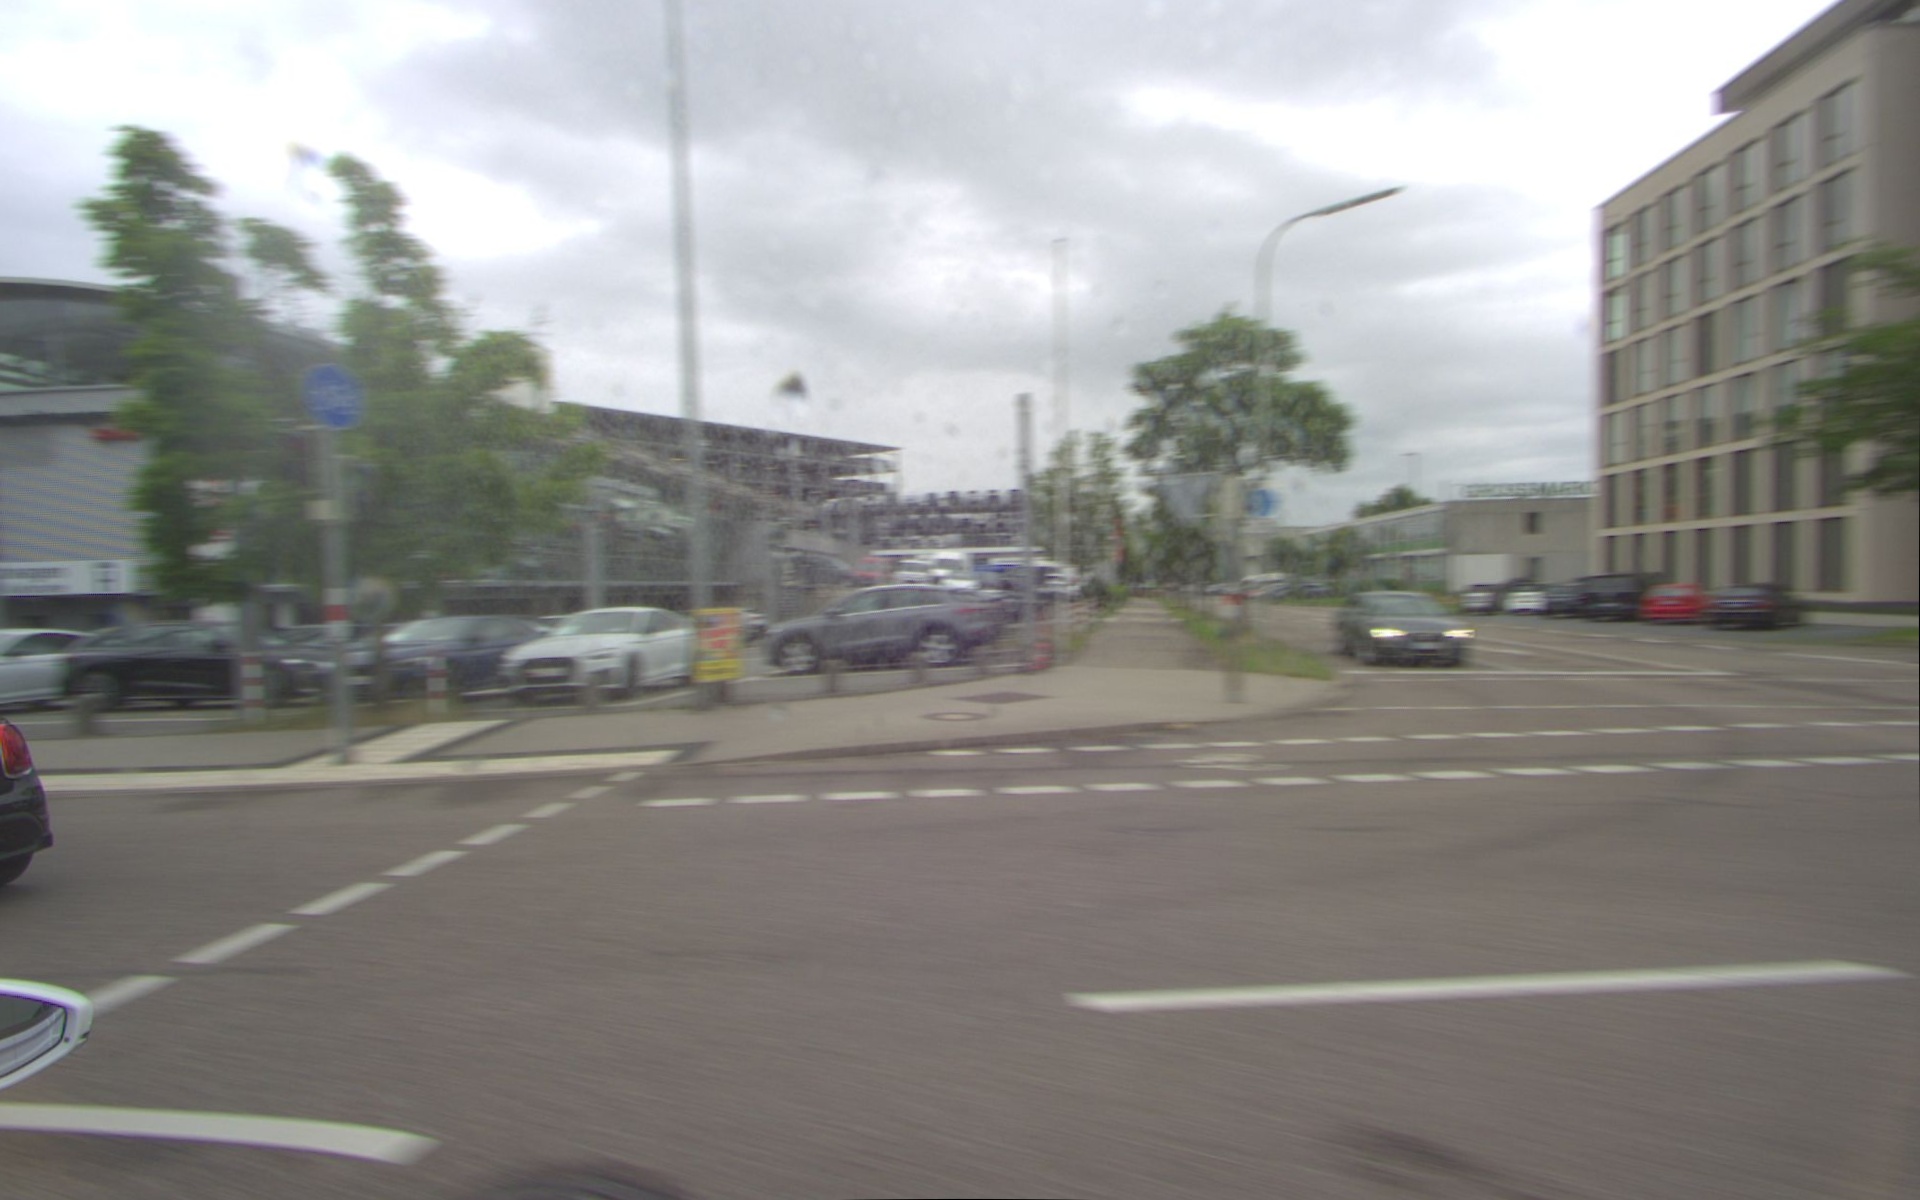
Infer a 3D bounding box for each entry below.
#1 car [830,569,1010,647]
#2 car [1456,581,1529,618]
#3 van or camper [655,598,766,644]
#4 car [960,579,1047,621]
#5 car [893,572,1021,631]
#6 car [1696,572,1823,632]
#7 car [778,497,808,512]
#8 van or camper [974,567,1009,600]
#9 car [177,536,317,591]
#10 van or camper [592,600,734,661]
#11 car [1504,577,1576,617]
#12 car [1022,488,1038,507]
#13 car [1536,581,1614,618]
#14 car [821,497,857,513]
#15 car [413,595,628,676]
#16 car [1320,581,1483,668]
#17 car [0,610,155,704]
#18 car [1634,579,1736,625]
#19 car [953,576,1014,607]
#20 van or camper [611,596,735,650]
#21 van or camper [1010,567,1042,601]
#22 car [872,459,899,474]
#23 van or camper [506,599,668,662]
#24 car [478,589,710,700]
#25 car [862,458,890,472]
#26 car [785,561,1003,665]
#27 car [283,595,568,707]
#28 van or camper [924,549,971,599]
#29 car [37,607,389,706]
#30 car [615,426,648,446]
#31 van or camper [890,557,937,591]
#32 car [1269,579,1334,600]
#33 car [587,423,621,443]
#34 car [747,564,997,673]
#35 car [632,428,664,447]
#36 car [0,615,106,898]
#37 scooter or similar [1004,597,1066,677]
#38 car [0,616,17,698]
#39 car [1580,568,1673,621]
[{"bbox_3d":[-1.055,0.235,28.339,4.866,1.901,2.054,-2,0,2],"label":"car"},{"bbox_3d":[26.164,-0.012,49.182,3.388,1.755,1.755,1,0,-33],"label":"car"},{"bbox_3d":[-9.905,0.823,39.916,3.922,1.734,1.847,1,0,5],"label":"van or camper"},{"bbox_3d":[2.074,-0.007,46.747,3.922,1.862,1.759,1,0,6],"label":"car"},{"bbox_3d":[-0.068,0.072,39.168,4.813,2.040,2.000,-3,0,4],"label":"car"},{"bbox_3d":[25.402,0.050,31.799,4.075,1.792,1.878,0,0,-31],"label":"car"},{"bbox_3d":[-23.245,-13.225,139.166,3.952,1.690,1.984,1,1,41],"label":"car"},{"bbox_3d":[2.036,-1.015,63.740,1.961,2.040,3.999,1,0,5],"label":"van or camper"},{"bbox_3d":[-24.348,-1.205,34.388,1.790,1.684,3.999,1,0,3],"label":"car"},{"bbox_3d":[-9.434,0.946,31.947,3.922,1.840,1.847,1,0,5],"label":"van or camper"},{"bbox_3d":[27.428,-0.131,47.360,3.388,1.822,1.580,1,0,-33],"label":"car"},{"bbox_3d":[8.953,-12.990,127.328,1.961,1.907,4.000,-1,0,4],"label":"car"},{"bbox_3d":[26.301,-0.034,42.776,3.773,1.531,1.684,0,0,-39],"label":"car"},{"bbox_3d":[-17.844,-13.978,147.662,5.262,1.971,2.195,1,1,37],"label":"car"},{"bbox_3d":[-11.416,0.898,26.205,4.724,1.966,1.999,-1,1,6],"label":"car"},{"bbox_3d":[8.874,0.418,20.570,1.947,1.572,4.610,0,1,9],"label":"car"},{"bbox_3d":[-16.167,0.945,16.721,1.817,1.505,4.200,-1,-2,6],"label":"car"},{"bbox_3d":[26.175,0.078,36.118,4.082,1.572,1.875,0,0,-37],"label":"car"},{"bbox_3d":[1.625,-0.572,68.102,3.922,2.040,1.999,1,0,6],"label":"car"},{"bbox_3d":[-10.411,0.825,36.473,3.922,1.840,1.847,1,0,5],"label":"van or camper"},{"bbox_3d":[4.203,-0.981,63.599,1.961,2.040,3.999,1,0,5],"label":"van or camper"},{"bbox_3d":[-11.416,-20.478,153.557,3.952,1.690,1.984,1,1,41],"label":"car"},{"bbox_3d":[-10.762,0.858,29.076,3.922,1.700,2.000,1,0,5],"label":"van or camper"},{"bbox_3d":[-5.662,0.673,16.113,1.838,1.505,4.230,-2,-1,5],"label":"car"},{"bbox_3d":[-12.774,-20.453,151.802,3.952,1.690,1.984,1,1,41],"label":"car"},{"bbox_3d":[-1.406,0.294,22.693,4.625,2.040,2.000,-3,0,4],"label":"car"},{"bbox_3d":[-8.415,0.807,16.350,2.030,1.504,4.519,-2,-2,3],"label":"car"},{"bbox_3d":[-0.744,-1.612,64.008,2.494,3.067,4.843,1,0,5],"label":"van or camper"},{"bbox_3d":[-12.392,0.941,16.778,4.663,1.505,1.894,-1,-2,5],"label":"car"},{"bbox_3d":[-39.058,-19.459,119.026,3.952,1.690,1.984,1,1,41],"label":"car"},{"bbox_3d":[-2.422,-1.355,52.942,1.961,1.673,3.999,1,0,4],"label":"van or camper"},{"bbox_3d":[30.098,-0.897,88.412,5.090,1.743,2.143,1,0,6],"label":"car"},{"bbox_3d":[-41.565,-19.503,116.907,3.952,1.690,1.984,1,1,41],"label":"car"},{"bbox_3d":[-1.660,0.365,20.135,4.695,1.887,2.000,-3,0,4],"label":"car"},{"bbox_3d":[-37.722,-19.651,121.020,3.952,1.690,1.984,1,1,41],"label":"car"},{"bbox_3d":[-6.689,0.820,4.989,3.573,1.434,1.791,-1,-1,8],"label":"car"},{"bbox_3d":[1.285,0.589,16.875,0.549,1.235,1.555,3,2,22],"label":"scooter or similar"},{"bbox_3d":[-18.708,1.001,16.767,1.840,1.505,4.046,-1,-2,5],"label":"car"},{"bbox_3d":[26.210,-0.205,39.344,4.197,1.991,1.983,0,0,-40],"label":"car"}]
